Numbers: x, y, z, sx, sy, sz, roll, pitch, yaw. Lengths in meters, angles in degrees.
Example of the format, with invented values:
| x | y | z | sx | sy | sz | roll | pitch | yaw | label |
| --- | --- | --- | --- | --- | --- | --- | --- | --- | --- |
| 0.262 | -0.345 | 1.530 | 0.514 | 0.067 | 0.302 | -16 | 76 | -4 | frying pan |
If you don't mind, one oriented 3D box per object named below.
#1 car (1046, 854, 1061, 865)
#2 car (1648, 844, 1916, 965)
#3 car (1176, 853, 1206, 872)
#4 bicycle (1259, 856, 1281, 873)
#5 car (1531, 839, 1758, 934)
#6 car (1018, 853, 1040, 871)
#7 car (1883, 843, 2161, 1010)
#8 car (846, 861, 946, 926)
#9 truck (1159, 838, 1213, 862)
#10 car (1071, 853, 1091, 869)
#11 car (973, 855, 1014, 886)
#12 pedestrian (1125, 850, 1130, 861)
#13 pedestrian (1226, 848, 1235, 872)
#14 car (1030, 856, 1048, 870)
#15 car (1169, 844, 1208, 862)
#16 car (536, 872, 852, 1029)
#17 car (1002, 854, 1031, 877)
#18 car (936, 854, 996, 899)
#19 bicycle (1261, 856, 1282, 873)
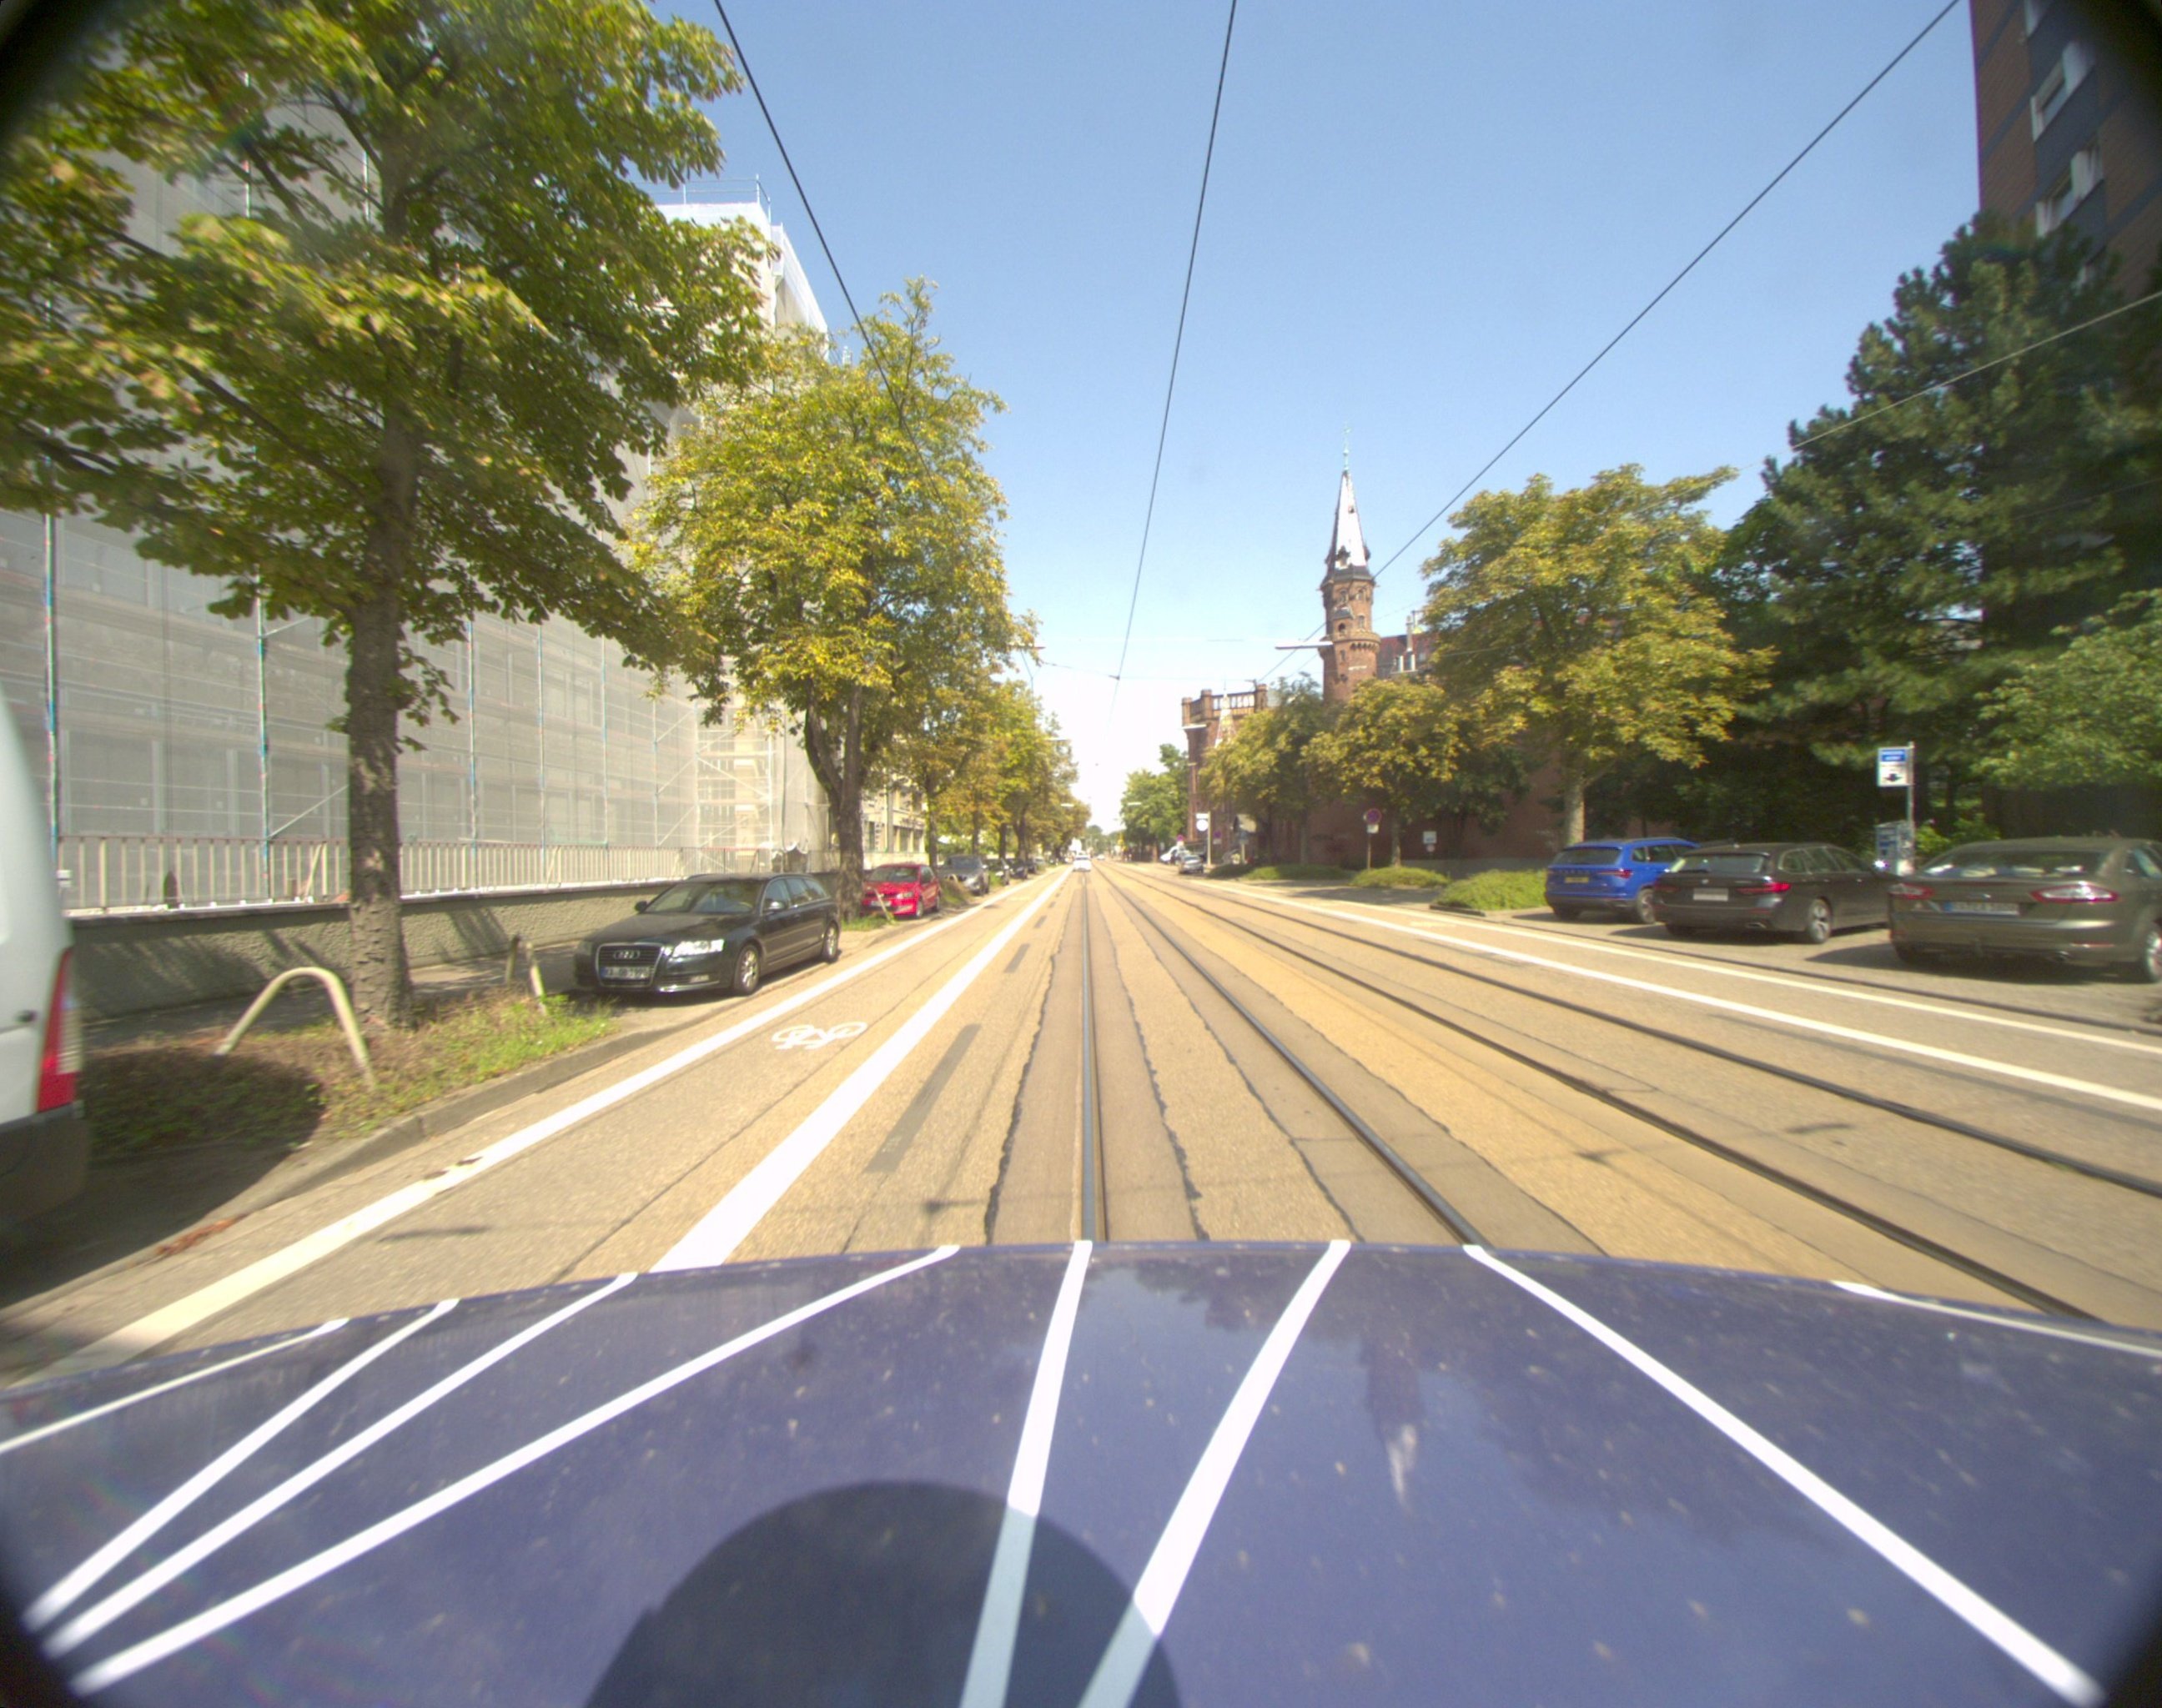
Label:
| x | y | z | sx | sy | sz | roll | pitch | yaw | label |
| --- | --- | --- | --- | --- | --- | --- | --- | --- | --- |
| -4.127 | 0.793 | 115.138 | 1.998 | 1.521 | 4.000 | -1 | 0 | 1 | car |
| 11.032 | 0.684 | 11.938 | 4.005 | 1.561 | 1.777 | -1 | 0 | -26 | car |
| 8.951 | 0.650 | 62.030 | 1.939 | 1.493 | 4.515 | -1 | 0 | 3 | car |
| 14.095 | 0.788 | 56.723 | 1.449 | 1.056 | 0.377 | -6 | 1 | -9 | bicycle |
| 11.261 | 0.585 | 15.192 | 4.004 | 1.638 | 1.838 | -1 | 0 | -23 | car |
| -4.550 | 0.701 | 66.299 | 1.642 | 1.464 | 3.993 | 1 | 0 | 0 | car |
| 11.434 | 0.661 | 8.756 | 4.301 | 1.488 | 1.777 | -1 | 0 | -26 | car |
| -4.924 | 0.994 | 20.809 | 1.689 | 1.491 | 4.131 | -1 | 0 | 0 | car |
| 13.767 | -0.544 | 100.017 | 6.510 | 2.510 | 2.317 | -5 | 0 | 1 | truck |
| -0.033 | 0.674 | 72.480 | 1.824 | 1.483 | 4.019 | 0 | 0 | 0 | car |
| -4.736 | 0.861 | 41.738 | 1.689 | 1.561 | 4.000 | -1 | 0 | 1 | car |
| 7.957 | 0.224 | 130.655 | 0.736 | 1.837 | 0.828 | -1 | 0 | 1 | pedestrian |
| 12.350 | 0.476 | 62.743 | 0.504 | 1.969 | 0.520 | -1 | 1 | 44 | pedestrian |
| -4.659 | 0.964 | 84.956 | 1.642 | 1.464 | 3.878 | -1 | 0 | 1 | car |
| 13.259 | -0.147 | 93.946 | 4.407 | 1.787 | 2.000 | -5 | 0 | 3 | car |
| -4.690 | 1.049 | 10.186 | 1.689 | 1.432 | 4.803 | -1 | 0 | 1 | car |
| -4.569 | 0.830 | 54.323 | 1.645 | 1.561 | 4.084 | 0 | -1 | 1 | car |
| -4.655 | 0.863 | 31.259 | 1.766 | 1.678 | 4.648 | -1 | 0 | -1 | car |
| 14.145 | 0.786 | 56.405 | 1.449 | 1.056 | 0.377 | -6 | 1 | -9 | bicycle |
